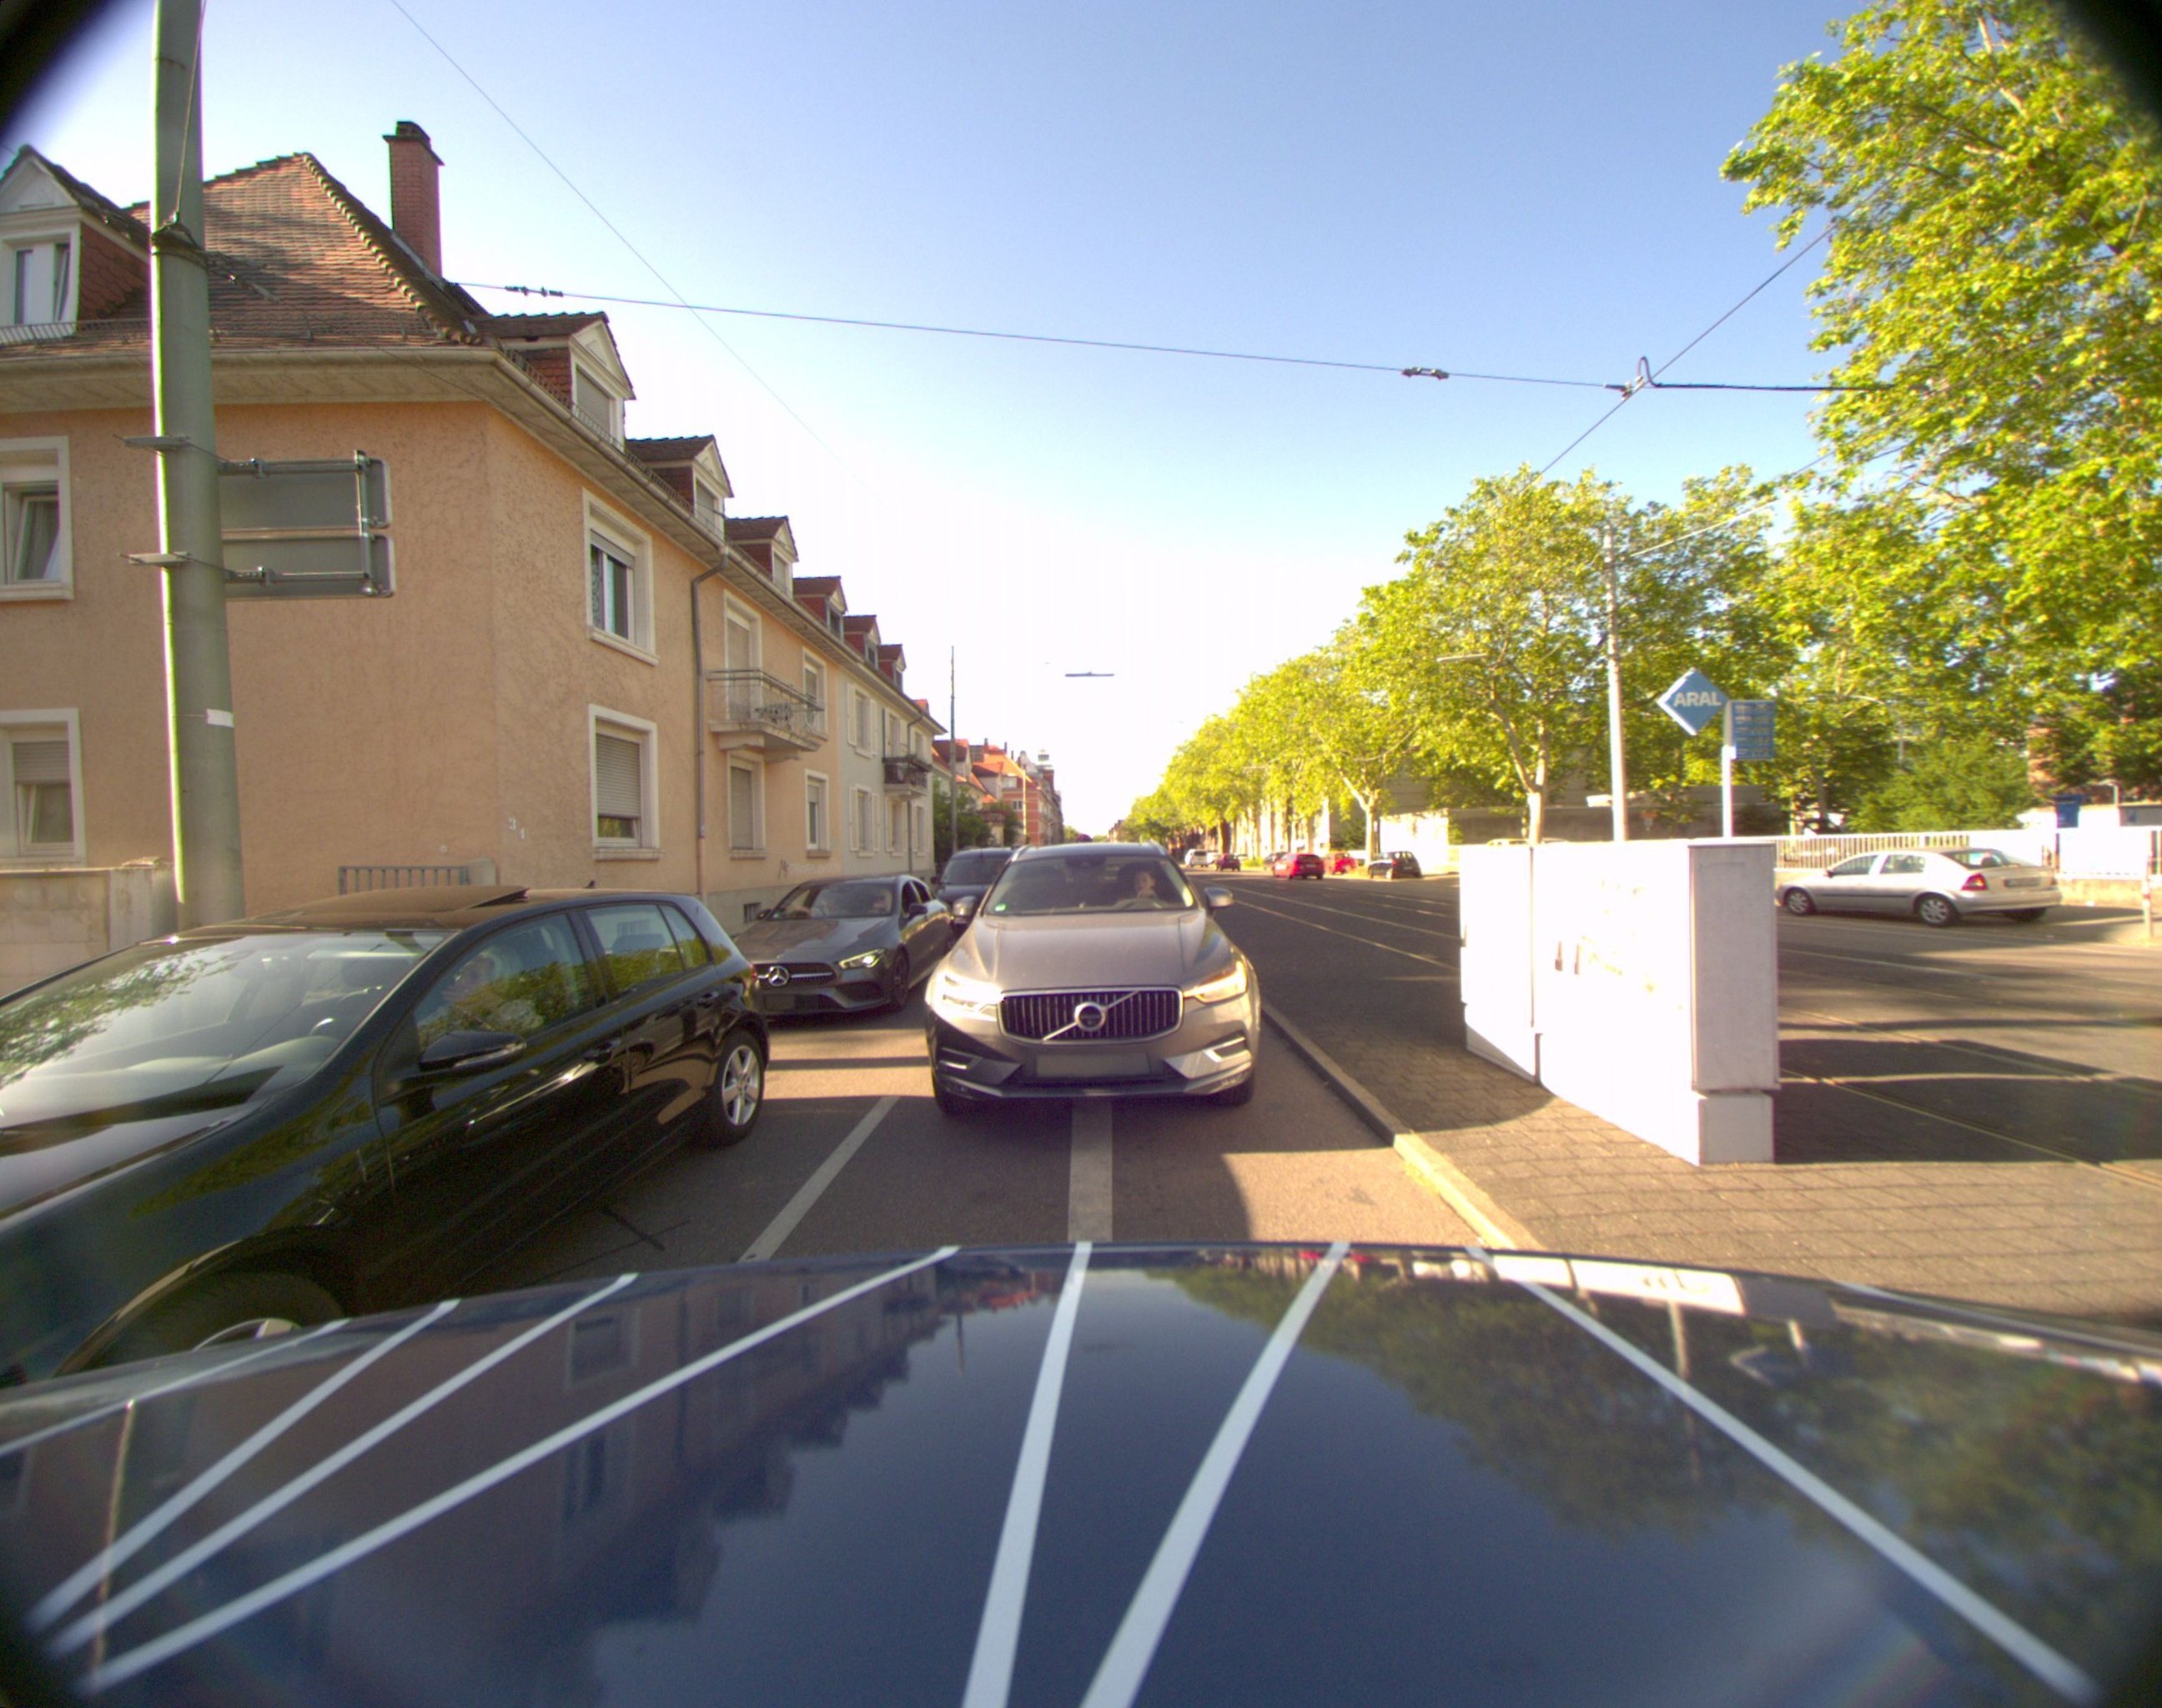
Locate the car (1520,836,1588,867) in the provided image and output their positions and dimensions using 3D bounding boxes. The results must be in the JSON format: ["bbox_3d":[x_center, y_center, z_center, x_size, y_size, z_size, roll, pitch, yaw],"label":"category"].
[{"bbox_3d":[23.427,-0.143,37.724,1.545,1.412,3.151,-2,1,4],"label":"car"}]

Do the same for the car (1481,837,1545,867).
[{"bbox_3d":[21.719,-0.112,38.307,1.545,1.412,3.151,-2,1,4],"label":"car"}]

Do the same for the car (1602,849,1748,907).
[{"bbox_3d":[16.438,0.604,21.233,1.546,1.412,3.254,-2,1,1],"label":"car"}]

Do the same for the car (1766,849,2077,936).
[{"bbox_3d":[16.194,0.641,15.000,1.731,1.412,3.999,-2,1,1],"label":"car"}]

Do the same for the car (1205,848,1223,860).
[{"bbox_3d":[17.668,0.009,100.789,1.700,1.548,3.999,-1,1,1],"label":"car"}]

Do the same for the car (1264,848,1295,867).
[{"bbox_3d":[17.170,0.321,66.000,1.700,1.566,3.999,-1,1,1],"label":"car"}]

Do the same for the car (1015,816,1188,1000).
[{"bbox_3d":[0.238,0.596,11.129,1.912,2.048,4.763,-2,1,0],"label":"car"}]

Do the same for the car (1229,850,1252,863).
[{"bbox_3d":[17.520,0.251,83.528,1.700,1.401,3.999,-1,1,1],"label":"car"}]

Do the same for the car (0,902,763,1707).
[{"bbox_3d":[-2.866,1.029,2.629,1.733,1.499,4.051,-2,-1,1],"label":"car"}]

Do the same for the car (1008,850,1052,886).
[{"bbox_3d":[-2.908,0.746,44.922,1.937,1.888,7.210,-2,1,1],"label":"car"}]

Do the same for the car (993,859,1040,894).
[{"bbox_3d":[-3.037,1.061,36.588,1.841,1.449,3.999,-2,1,1],"label":"car"}]

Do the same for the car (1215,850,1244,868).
[{"bbox_3d":[12.465,0.425,64.116,1.699,1.412,3.999,1,1,1],"label":"car"}]

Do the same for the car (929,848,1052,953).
[{"bbox_3d":[-1.706,0.811,15.908,1.866,1.794,4.778,-2,1,1],"label":"car"}]

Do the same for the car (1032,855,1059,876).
[{"bbox_3d":[-2.825,0.886,60.596,1.841,1.449,3.999,-2,1,1],"label":"car"}]

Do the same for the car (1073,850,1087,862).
[{"bbox_3d":[-0.155,0.272,106.495,1.841,1.449,3.999,-2,1,1],"label":"car"}]

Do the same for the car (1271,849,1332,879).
[{"bbox_3d":[11.916,0.487,41.377,1.912,1.514,4.763,0,1,0],"label":"car"}]

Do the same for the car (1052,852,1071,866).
[{"bbox_3d":[-2.179,0.584,85.443,1.841,1.449,3.999,-2,1,1],"label":"car"}]

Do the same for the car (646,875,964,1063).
[{"bbox_3d":[-2.775,1.077,8.927,1.911,1.411,4.492,-2,1,2],"label":"car"}]

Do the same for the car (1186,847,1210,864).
[{"bbox_3d":[12.820,0.135,83.365,1.850,1.835,4.394,-1,1,-1],"label":"car"}]

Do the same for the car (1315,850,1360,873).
[{"bbox_3d":[16.950,0.467,50.343,1.700,1.460,3.999,-1,1,1],"label":"car"}]

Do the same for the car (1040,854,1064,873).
[{"bbox_3d":[-2.529,0.803,67.005,1.841,1.449,3.999,-2,1,1],"label":"car"}]

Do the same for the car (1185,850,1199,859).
[{"bbox_3d":[18.337,0.025,125.566,1.700,1.401,3.999,-1,1,1],"label":"car"}]

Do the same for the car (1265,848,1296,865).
[{"bbox_3d":[17.288,0.228,65.920,1.700,1.401,3.999,-1,1,1],"label":"car"}]

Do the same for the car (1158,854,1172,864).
[{"bbox_3d":[13.299,0.796,120.229,1.764,1.487,3.999,-2,1,1],"label":"car"}]

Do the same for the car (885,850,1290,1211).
[{"bbox_3d":[0.039,0.853,6.088,1.912,1.666,4.763,-2,1,0],"label":"car"}]

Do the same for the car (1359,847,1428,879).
[{"bbox_3d":[16.873,0.455,41.285,1.753,1.514,4.434,-5,1,-1],"label":"car"}]
